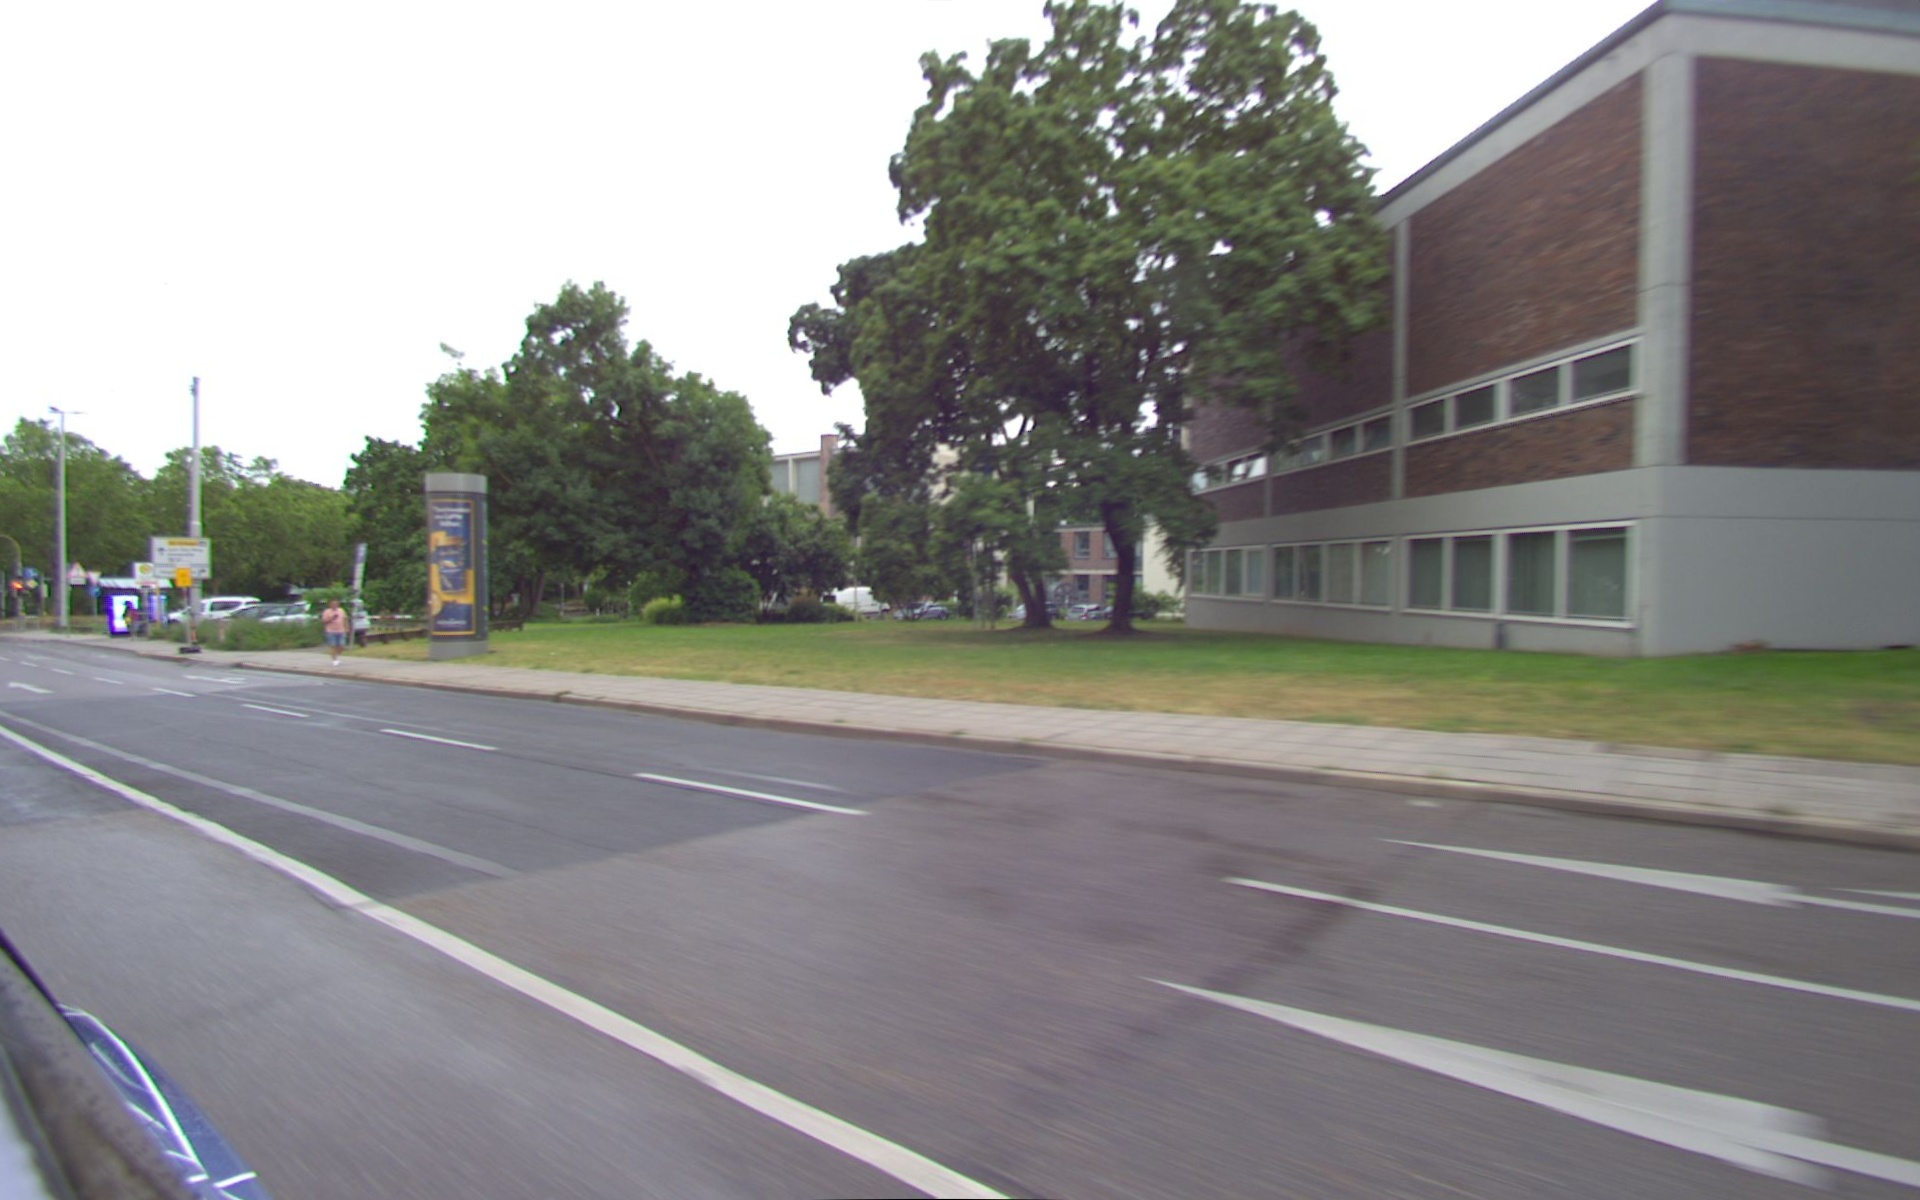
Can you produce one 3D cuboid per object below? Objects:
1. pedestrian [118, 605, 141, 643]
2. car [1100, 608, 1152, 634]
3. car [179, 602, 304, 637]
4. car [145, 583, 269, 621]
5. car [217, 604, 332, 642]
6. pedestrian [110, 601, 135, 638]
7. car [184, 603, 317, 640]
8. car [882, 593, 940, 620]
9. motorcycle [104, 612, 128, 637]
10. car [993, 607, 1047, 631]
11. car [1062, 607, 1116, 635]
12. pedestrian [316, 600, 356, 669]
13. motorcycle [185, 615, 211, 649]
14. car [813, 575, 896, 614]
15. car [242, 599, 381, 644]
[{"bbox_3d":[-38.661,1.102,47.109,0.641,1.708,0.622,0,2,32],"label":"pedestrian"},{"bbox_3d":[10.375,1.264,63.221,1.652,1.360,3.803,1,3,37],"label":"car"},{"bbox_3d":[-32.852,0.878,46.424,4.305,1.359,1.911,-2,2,-20],"label":"car"},{"bbox_3d":[-38.364,0.065,51.694,4.648,1.768,2.020,-1,2,-8],"label":"car"},{"bbox_3d":[-28.876,0.950,42.719,3.538,1.359,1.848,-2,2,-11],"label":"car"},{"bbox_3d":[-39.334,0.908,47.531,0.670,1.708,0.678,0,2,32],"label":"pedestrian"},{"bbox_3d":[-31.053,0.918,44.476,4.504,1.359,1.911,-2,2,-25],"label":"car"},{"bbox_3d":[-3.491,0.452,72.950,1.998,1.763,3.947,-1,1,40],"label":"car"},{"bbox_3d":[-45.437,1.312,54.473,1.261,1.256,0.512,0,2,26],"label":"motorcycle"},{"bbox_3d":[4.067,1.262,68.043,1.780,1.385,3.887,1,3,37],"label":"car"},{"bbox_3d":[8.331,1.312,65.181,1.795,1.530,3.951,1,3,37],"label":"car"},{"bbox_3d":[-15.924,0.860,25.838,0.662,1.699,0.914,-3,3,-43],"label":"pedestrian"},{"bbox_3d":[-29.393,1.224,39.021,1.267,1.256,0.509,1,3,41],"label":"motorcycle"},{"bbox_3d":[-8.223,-0.509,79.493,2.740,2.781,6.125,1,3,43],"label":"car"},{"bbox_3d":[-25.810,0.840,40.320,4.471,1.621,1.865,-1,2,7],"label":"car"}]
